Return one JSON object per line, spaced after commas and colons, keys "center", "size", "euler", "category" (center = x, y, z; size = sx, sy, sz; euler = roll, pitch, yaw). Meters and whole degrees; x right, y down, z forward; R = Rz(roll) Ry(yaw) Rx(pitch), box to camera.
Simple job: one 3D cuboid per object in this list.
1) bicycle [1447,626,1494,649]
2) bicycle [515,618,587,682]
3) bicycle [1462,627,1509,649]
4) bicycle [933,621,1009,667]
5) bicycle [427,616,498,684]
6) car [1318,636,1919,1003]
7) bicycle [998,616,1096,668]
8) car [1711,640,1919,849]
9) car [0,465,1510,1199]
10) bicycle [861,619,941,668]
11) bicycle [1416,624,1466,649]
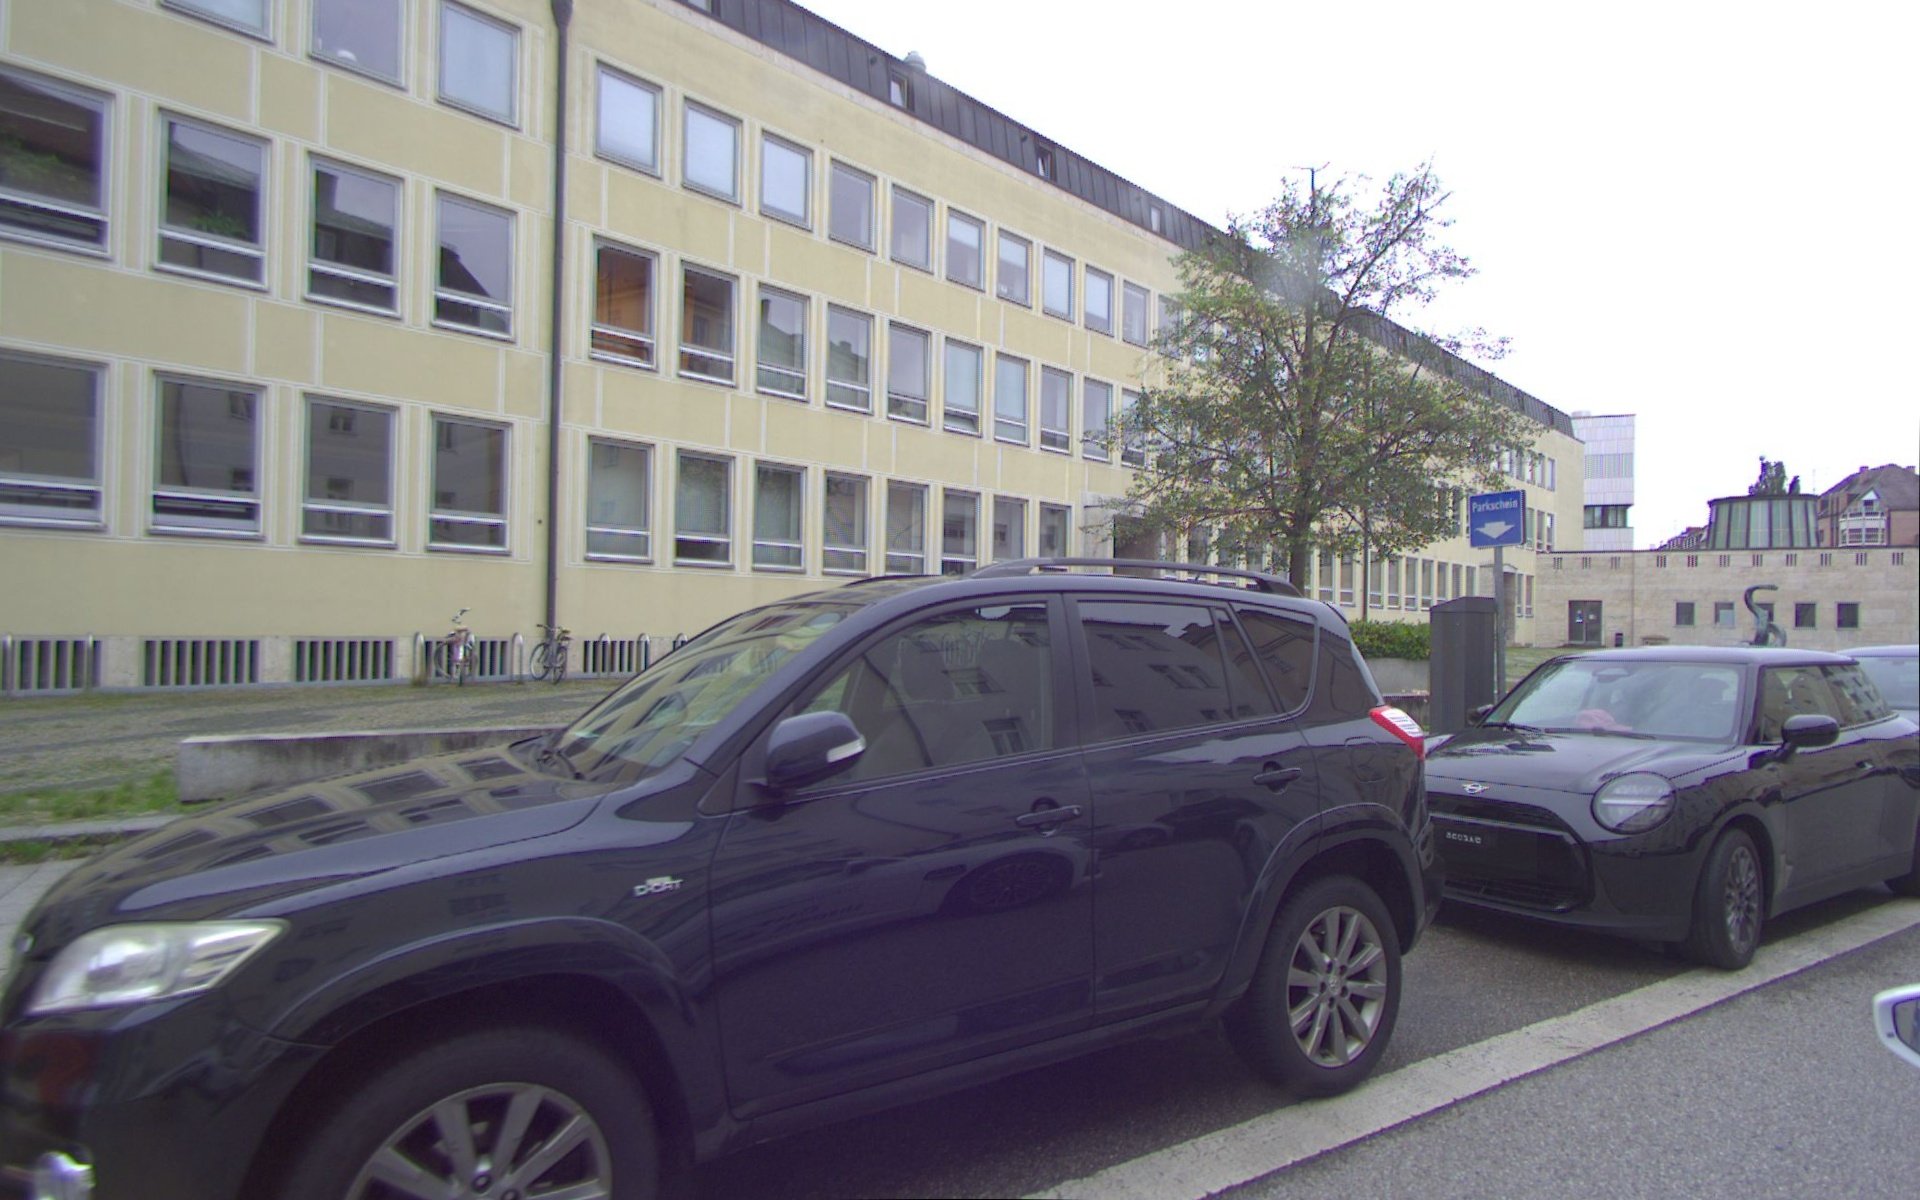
{"center": [24.276, 1.772, 47.776], "size": [0.621, 1.028, 1.928], "euler": [1, -1, -44], "category": "bicycle"}
{"center": [-7.126, 0.839, 17.458], "size": [0.620, 1.028, 1.931], "euler": [1, -1, -39], "category": "bicycle"}
{"center": [25.430, 1.830, 48.588], "size": [1.923, 1.028, 0.623], "euler": [0, -1, 40], "category": "bicycle"}
{"center": [0.241, 1.049, 24.281], "size": [1.926, 1.028, 0.622], "euler": [0, -1, 44], "category": "bicycle"}
{"center": [-8.194, 0.799, 16.513], "size": [0.620, 1.028, 1.931], "euler": [1, -1, -39], "category": "bicycle"}
{"center": [4.028, 0.960, 5.782], "size": [3.825, 1.472, 1.672], "euler": [1, -3, -31], "category": "car"}
{"center": [2.221, 1.057, 25.980], "size": [2.409, 1.265, 1.050], "euler": [0, -1, 44], "category": "bicycle"}
{"center": [8.180, 1.082, 8.520], "size": [3.932, 1.472, 1.647], "euler": [2, -3, -33], "category": "car"}
{"center": [-0.373, 0.732, 3.224], "size": [4.398, 1.687, 1.736], "euler": [2, -4, -31], "category": "car"}
{"center": [-1.339, 0.956, 22.500], "size": [1.926, 1.028, 0.622], "euler": [0, -1, 44], "category": "bicycle"}
{"center": [21.530, 1.625, 45.000], "size": [1.926, 1.028, 0.622], "euler": [0, -1, 44], "category": "bicycle"}
